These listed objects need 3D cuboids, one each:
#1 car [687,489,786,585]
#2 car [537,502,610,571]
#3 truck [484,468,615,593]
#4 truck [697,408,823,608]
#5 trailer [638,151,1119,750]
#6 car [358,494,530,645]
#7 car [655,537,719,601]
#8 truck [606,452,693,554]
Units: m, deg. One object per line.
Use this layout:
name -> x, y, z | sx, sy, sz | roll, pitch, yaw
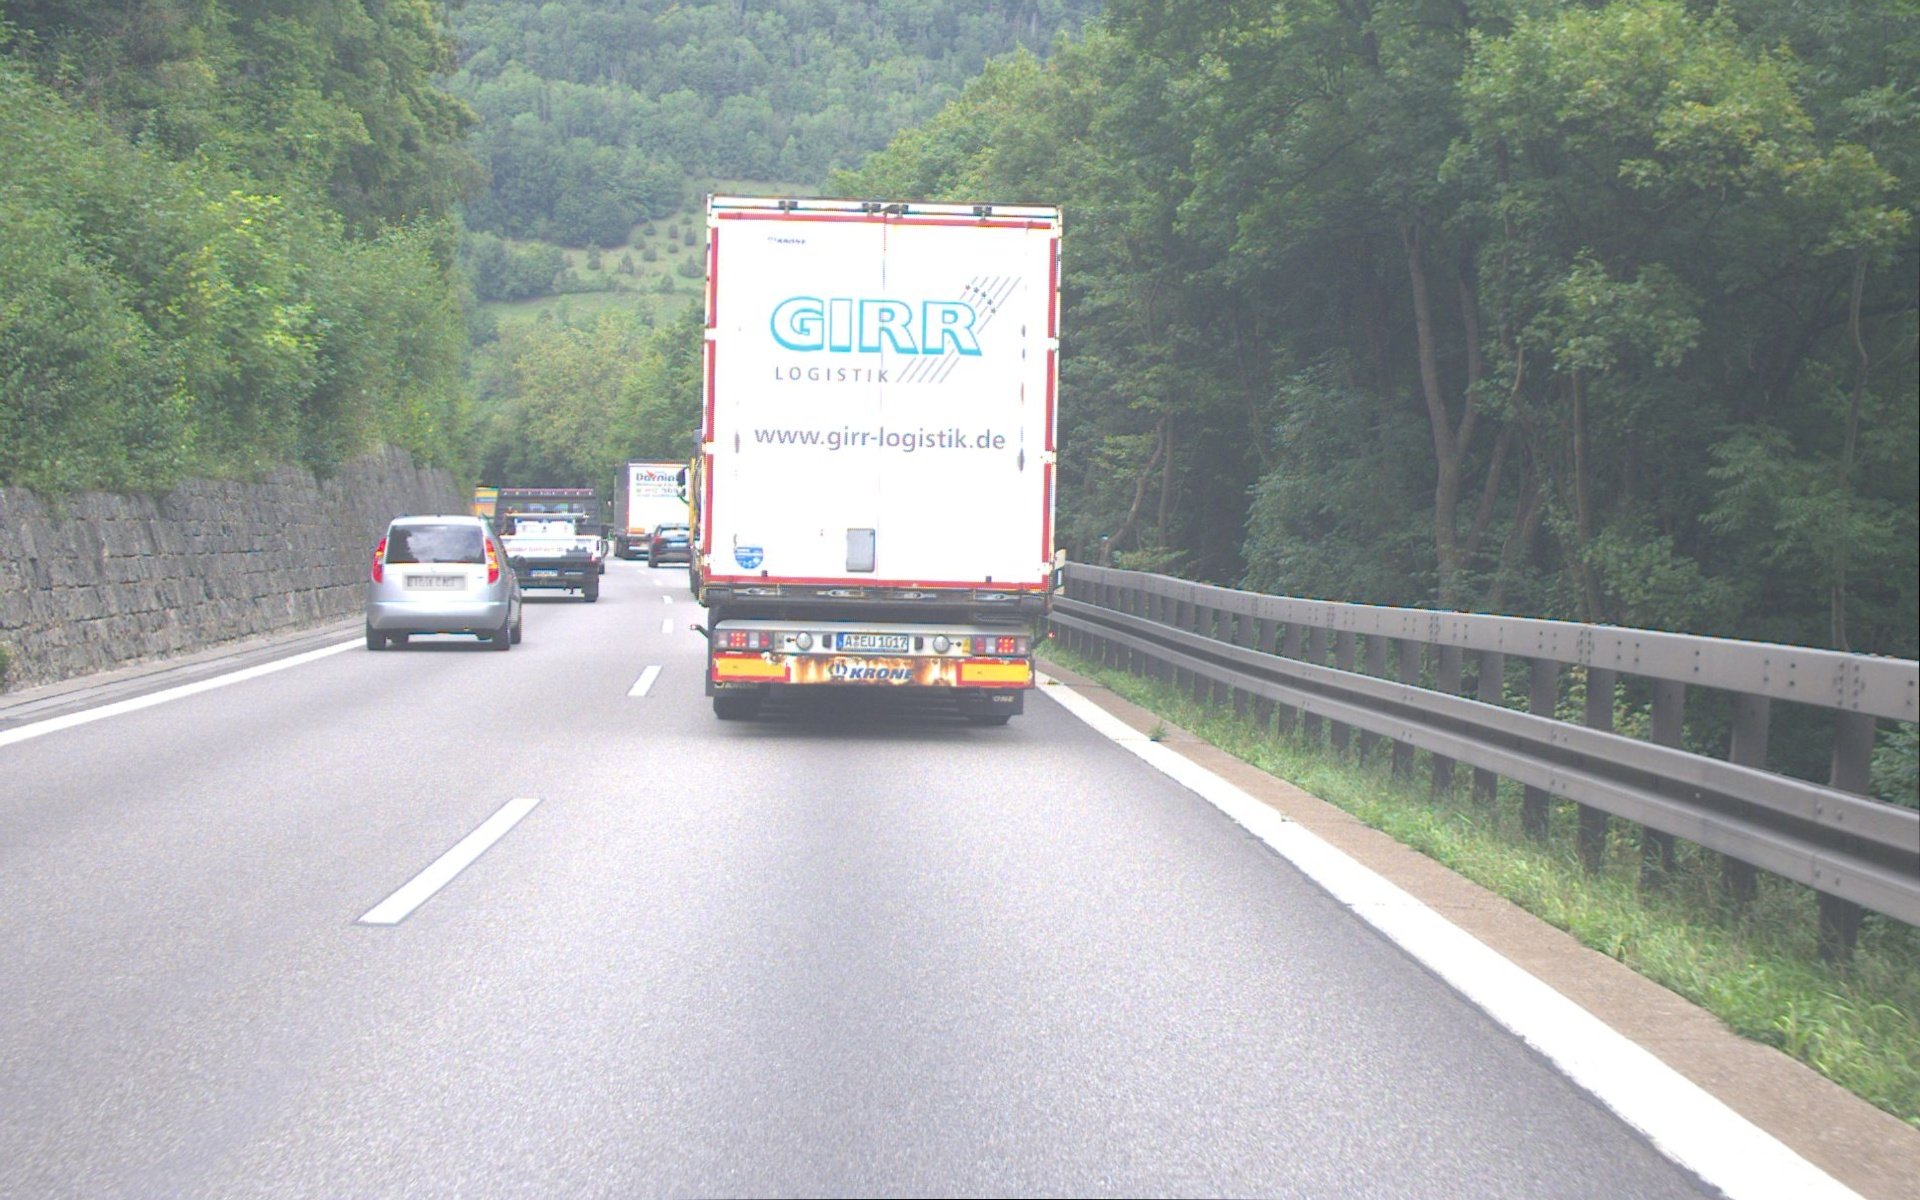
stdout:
car -> -5.081, -1.416, 77.623 | 1.993, 2.007, 4.334 | 3, 1, -6
car -> -11.519, -1.911, 102.636 | 2.018, 1.907, 5.565 | 3, 1, -6
truck -> -8.156, -1.388, 68.870 | 2.348, 2.266, 6.851 | 3, 1, -6
truck -> -4.170, -1.848, 70.550 | 2.233, 3.791, 6.824 | 3, 1, -5
trailer -> -0.828, -1.166, 29.076 | 3.132, 4.029, 9.441 | 4, 1, -3
car -> -6.284, -0.393, 42.209 | 1.634, 1.720, 4.345 | 2, 1, -3
car -> -9.221, -1.060, 115.852 | 1.993, 2.007, 4.001 | 3, 1, -6
truck -> -12.725, -3.909, 140.271 | 3.068, 3.864, 8.460 | 3, 1, -7
